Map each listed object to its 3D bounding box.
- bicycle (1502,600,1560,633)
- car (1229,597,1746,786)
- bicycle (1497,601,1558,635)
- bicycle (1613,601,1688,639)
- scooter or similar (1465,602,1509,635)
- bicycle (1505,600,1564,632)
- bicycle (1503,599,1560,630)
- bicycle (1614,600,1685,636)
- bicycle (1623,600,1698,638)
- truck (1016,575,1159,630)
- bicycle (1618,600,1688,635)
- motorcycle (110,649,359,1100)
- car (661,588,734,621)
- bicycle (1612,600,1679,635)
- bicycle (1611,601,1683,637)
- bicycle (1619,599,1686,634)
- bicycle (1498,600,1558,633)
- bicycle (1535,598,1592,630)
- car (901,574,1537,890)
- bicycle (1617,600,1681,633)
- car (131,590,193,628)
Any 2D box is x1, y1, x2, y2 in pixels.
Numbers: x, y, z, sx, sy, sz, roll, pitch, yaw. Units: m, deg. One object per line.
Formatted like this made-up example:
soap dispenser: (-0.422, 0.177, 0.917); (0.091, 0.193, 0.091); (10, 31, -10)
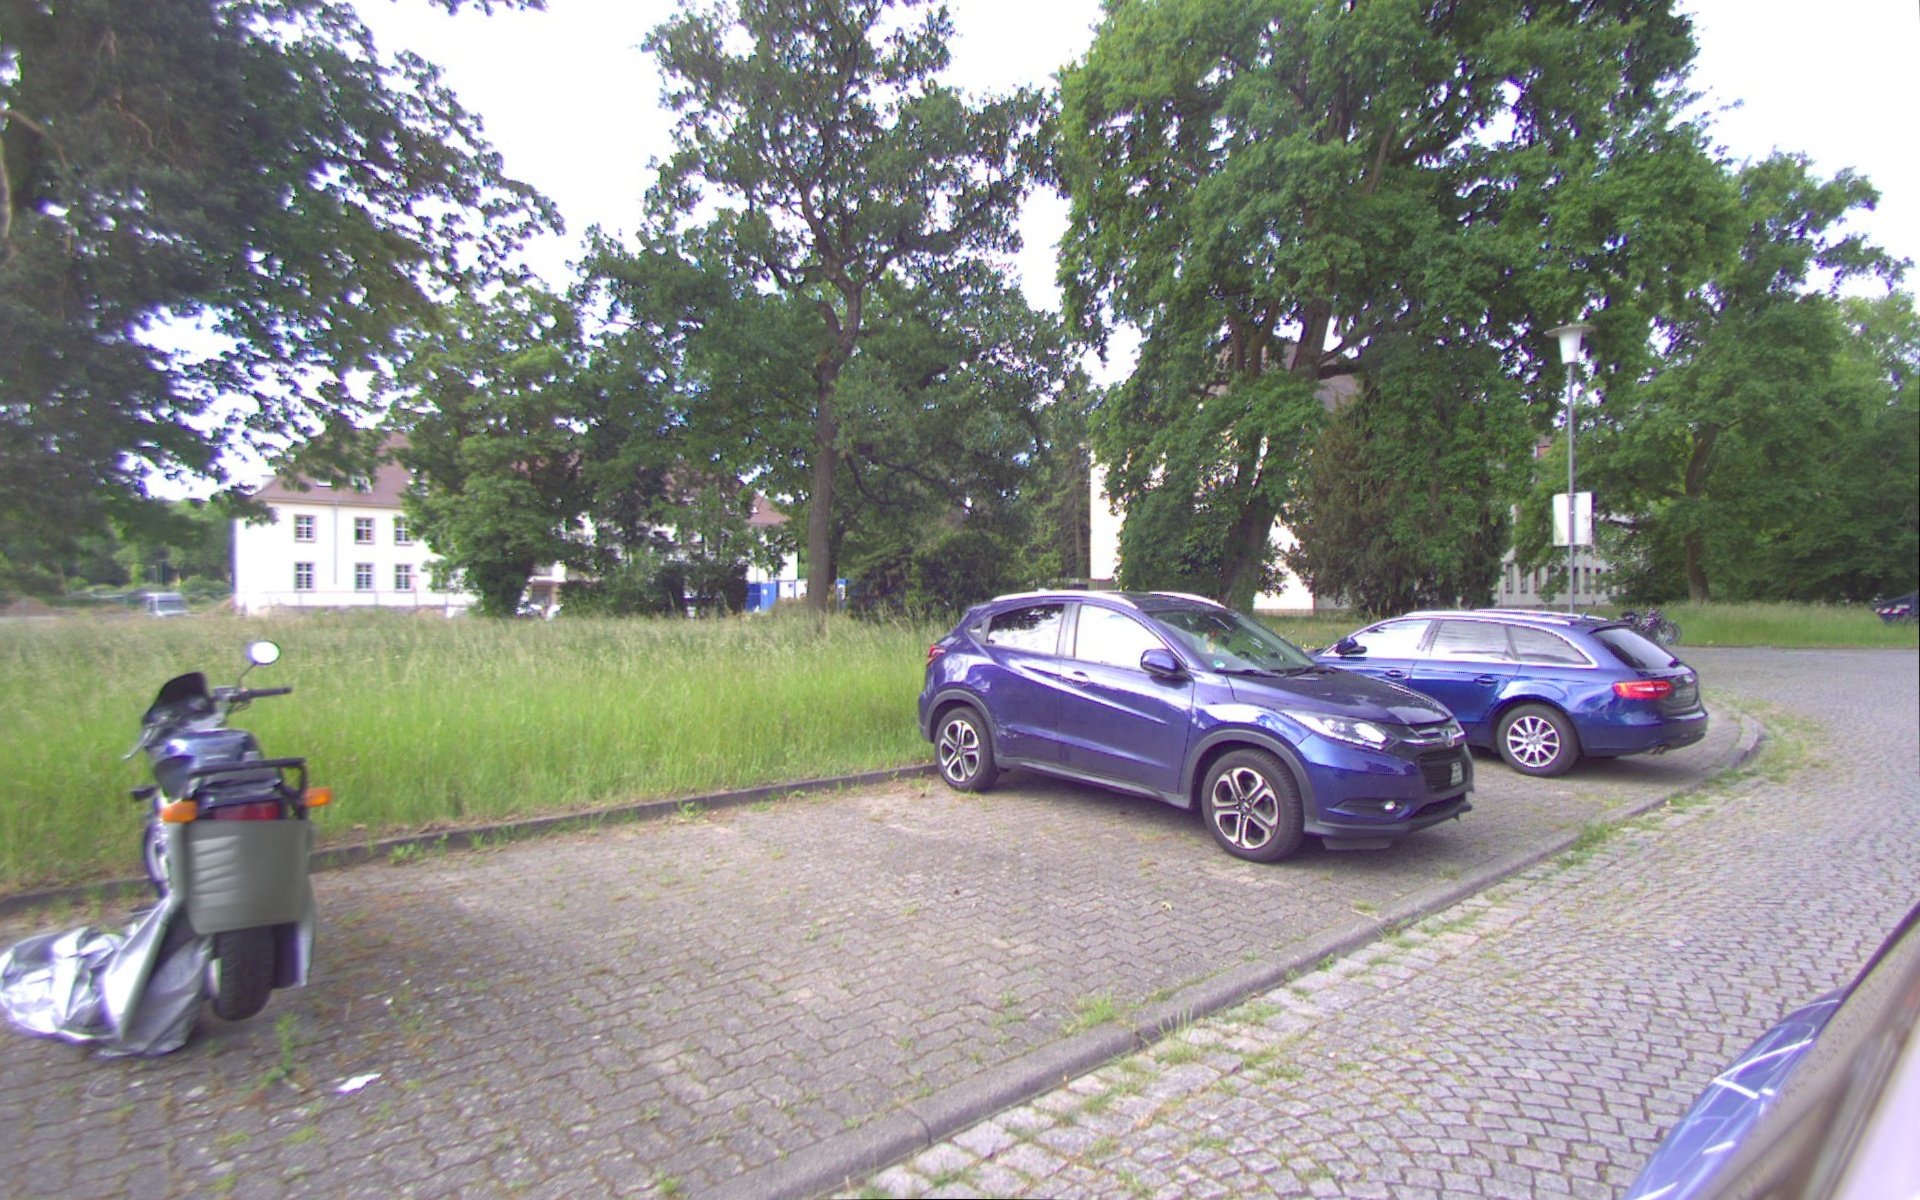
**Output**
bicycle: (21.046, 0.609, 37.329); (1.842, 1.185, 0.483); (-1, -1, 29)
car: (5.172, 0.734, 10.462); (1.892, 1.457, 4.367); (0, 1, -38)
bicycle: (20.317, 0.642, 36.246); (1.839, 1.185, 0.484); (-1, -1, 24)
bicycle: (22.553, 0.652, 33.071); (1.917, 1.185, 0.484); (-2, -1, 22)
scooter or similar: (19.037, 0.679, 36.570); (0.406, 1.185, 1.306); (0, -1, -41)
bicycle: (21.518, 0.603, 37.938); (1.836, 1.185, 0.485); (-1, -1, 21)
bicycle: (22.162, 0.560, 39.292); (1.836, 1.185, 0.485); (-1, -1, 21)
bicycle: (23.806, 0.637, 34.950); (1.918, 1.185, 0.484); (-2, -1, 25)
bicycle: (23.124, 0.640, 33.427); (1.917, 1.185, 0.484); (-2, -1, 22)
truck: (5.753, 0.105, 46.828); (1.958, 2.396, 7.077); (1, 0, -40)
bicycle: (24.317, 0.630, 35.532); (1.921, 1.185, 0.483); (-2, -1, 28)
motorcycle: (-2.992, 0.876, 4.063); (0.558, 1.217, 2.233); (0, 1, -42)
car: (-19.111, 0.321, 73.860); (4.854, 2.333, 1.921); (0, 0, -41)
bicycle: (24.657, 0.630, 36.428); (1.921, 1.185, 0.483); (-2, -1, 28)
bicycle: (23.394, 0.644, 34.504); (1.918, 1.185, 0.484); (-2, -1, 25)
bicycle: (25.153, 0.605, 36.775); (1.921, 1.185, 0.483); (-2, -1, 28)
bicycle: (20.604, 0.615, 36.769); (1.839, 1.185, 0.484); (-1, -1, 24)
bicycle: (23.499, 0.527, 39.433); (1.851, 1.185, 0.481); (2, 1, 40)
car: (1.608, 0.649, 7.464); (1.854, 1.643, 4.251); (0, 1, -42)
bicycle: (25.781, 0.616, 37.916); (1.925, 1.185, 0.531); (-2, -1, 34)
car: (-58.755, 0.692, 74.478); (5.648, 2.675, 2.247); (-2, -1, 38)
